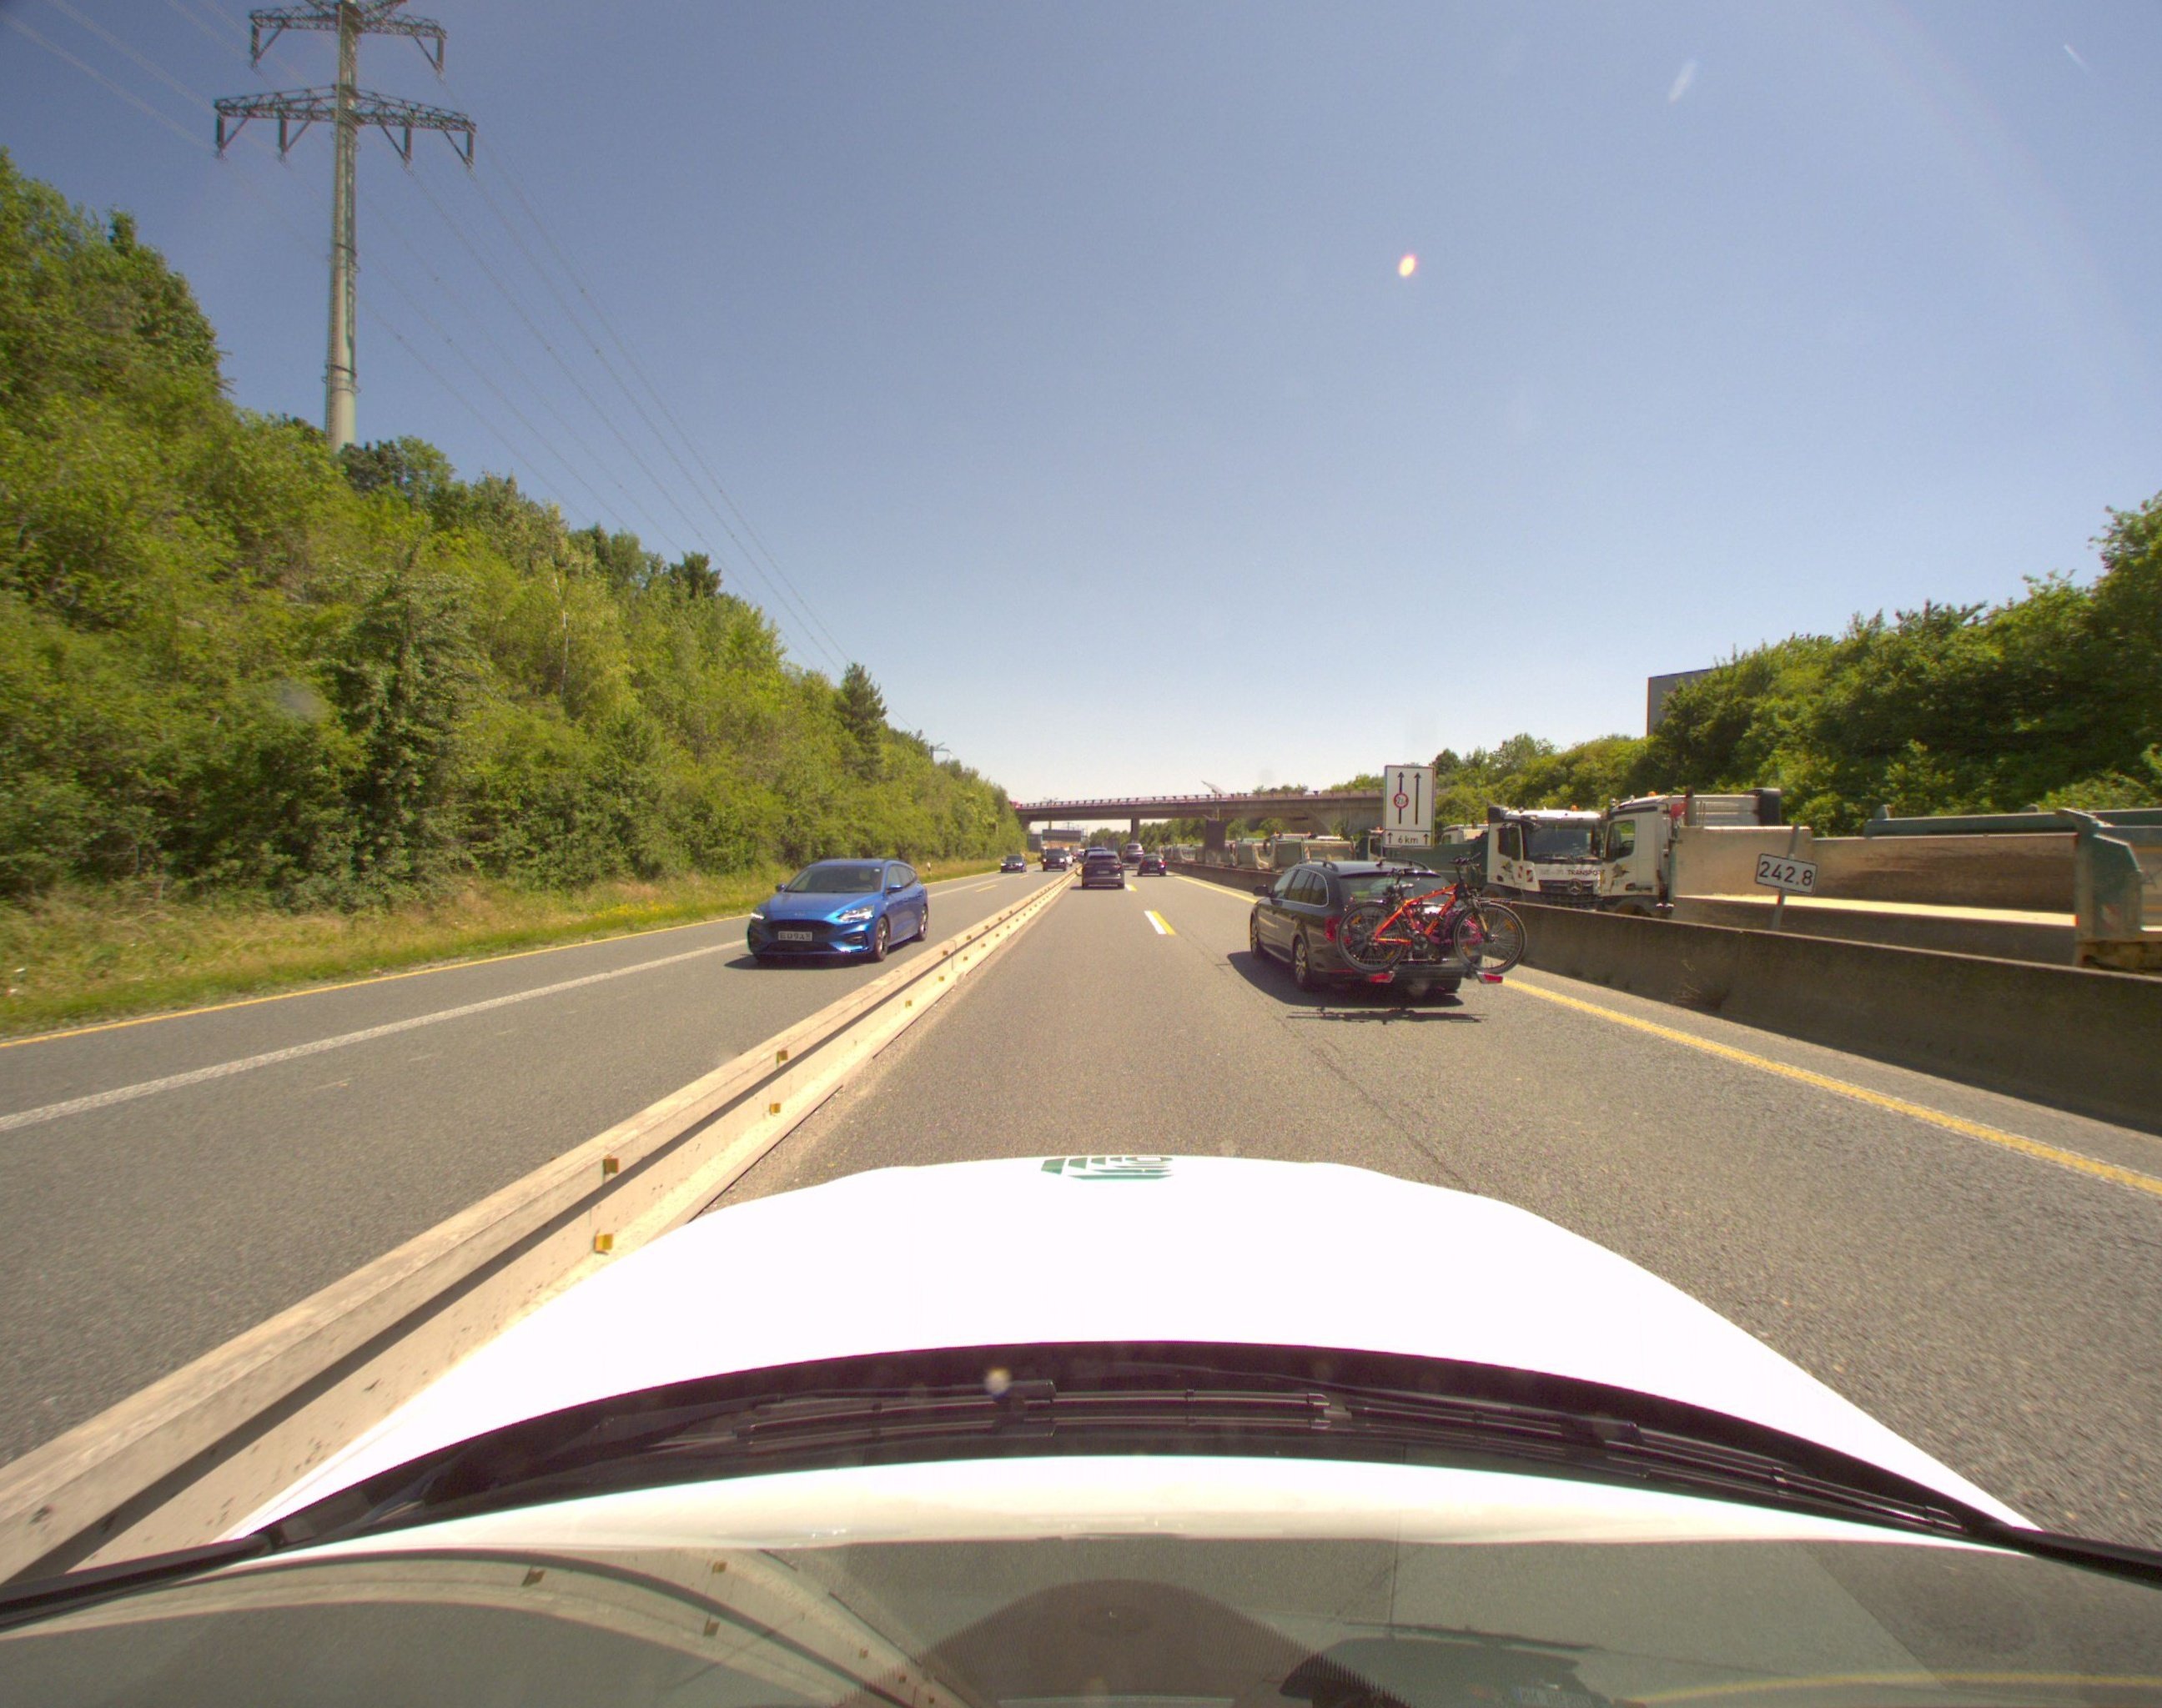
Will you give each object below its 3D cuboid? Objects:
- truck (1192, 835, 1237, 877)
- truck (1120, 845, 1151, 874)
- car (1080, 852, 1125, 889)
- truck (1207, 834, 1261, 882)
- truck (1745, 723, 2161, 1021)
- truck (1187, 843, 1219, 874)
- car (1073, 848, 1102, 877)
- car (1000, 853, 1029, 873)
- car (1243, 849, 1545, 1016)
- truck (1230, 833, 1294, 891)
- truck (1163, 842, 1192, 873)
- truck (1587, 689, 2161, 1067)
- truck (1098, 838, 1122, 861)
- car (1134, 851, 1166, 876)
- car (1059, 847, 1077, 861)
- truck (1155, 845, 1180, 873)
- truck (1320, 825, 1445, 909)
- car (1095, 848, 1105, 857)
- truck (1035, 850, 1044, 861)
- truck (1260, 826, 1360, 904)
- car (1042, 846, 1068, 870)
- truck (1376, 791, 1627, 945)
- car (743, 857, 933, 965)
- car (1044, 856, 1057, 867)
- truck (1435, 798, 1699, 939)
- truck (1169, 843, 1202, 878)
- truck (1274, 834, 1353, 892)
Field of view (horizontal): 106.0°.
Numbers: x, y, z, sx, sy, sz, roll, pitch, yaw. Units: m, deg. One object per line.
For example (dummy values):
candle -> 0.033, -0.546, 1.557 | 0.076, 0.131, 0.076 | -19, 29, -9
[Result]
truck -> 12.181, 0.163, 74.979 | 2.678, 3.557, 9.325 | 0, 0, 0
truck -> 5.022, 0.421, 75.554 | 2.398, 2.558, 7.499 | 0, 0, 0
car -> 0.966, 0.694, 35.843 | 1.892, 1.505, 4.278 | 0, 0, 2
truck -> 12.194, 0.303, 65.683 | 2.678, 3.557, 9.325 | 0, 0, 0
truck -> 14.101, 0.211, 11.564 | 2.677, 3.511, 8.382 | 0, 0, 1
truck -> 15.213, 0.534, 102.350 | 2.678, 3.726, 9.325 | 0, 0, 0
car -> 0.484, 0.579, 56.472 | 1.892, 1.968, 4.278 | 0, 0, 2
car -> -5.309, 0.701, 65.600 | 1.786, 1.525, 4.533 | 0, 0, 2
car -> 3.298, 0.715, 9.788 | 1.892, 1.490, 4.949 | 0, 0, 2
truck -> 11.840, 0.481, 54.173 | 2.676, 3.557, 9.413 | 0, 0, 3
truck -> 12.298, 0.455, 104.687 | 2.678, 3.856, 9.326 | 0, 0, 1
truck -> 11.416, 0.220, 12.020 | 2.524, 3.511, 8.946 | 0, 0, 1
truck -> 5.091, -0.807, 143.992 | 3.286, 3.845, 10.096 | 0, 0, -4
car -> 4.548, 0.623, 54.308 | 1.892, 1.585, 4.278 | 0, 0, 2
car -> -1.518, 0.009, 95.387 | 1.837, 1.533, 4.672 | 1, 0, 1
truck -> 12.410, 0.640, 117.544 | 2.678, 3.843, 9.326 | 0, 0, 1
truck -> 14.177, 0.542, 39.297 | 2.677, 3.557, 9.604 | 0, 0, 1
car -> 4.178, -0.402, 179.178 | 1.894, 1.968, 4.273 | 0, 0, -2
truck -> -12.279, 0.379, 242.872 | 2.503, 3.186, 10.096 | 0, 0, -4
truck -> 11.512, 0.506, 41.915 | 2.677, 3.557, 9.605 | 0, 0, 1
car -> -2.198, 0.337, 70.016 | 1.883, 2.013, 4.820 | 0, 0, 2
truck -> 11.477, 0.316, 23.670 | 2.529, 3.557, 9.604 | 0, 0, 1
car -> -3.596, 0.766, 12.879 | 1.707, 1.425, 4.170 | 0, 0, 1
car -> -4.507, 1.023, 120.294 | 1.693, 1.565, 3.996 | 1, 0, 1
truck -> 14.309, 0.360, 25.262 | 2.677, 3.557, 9.605 | 0, 0, 1
truck -> 11.861, 0.674, 93.162 | 2.678, 3.761, 9.326 | 0, 0, 1
truck -> 14.609, 0.528, 52.077 | 2.677, 3.378, 9.607 | 0, 0, 2
